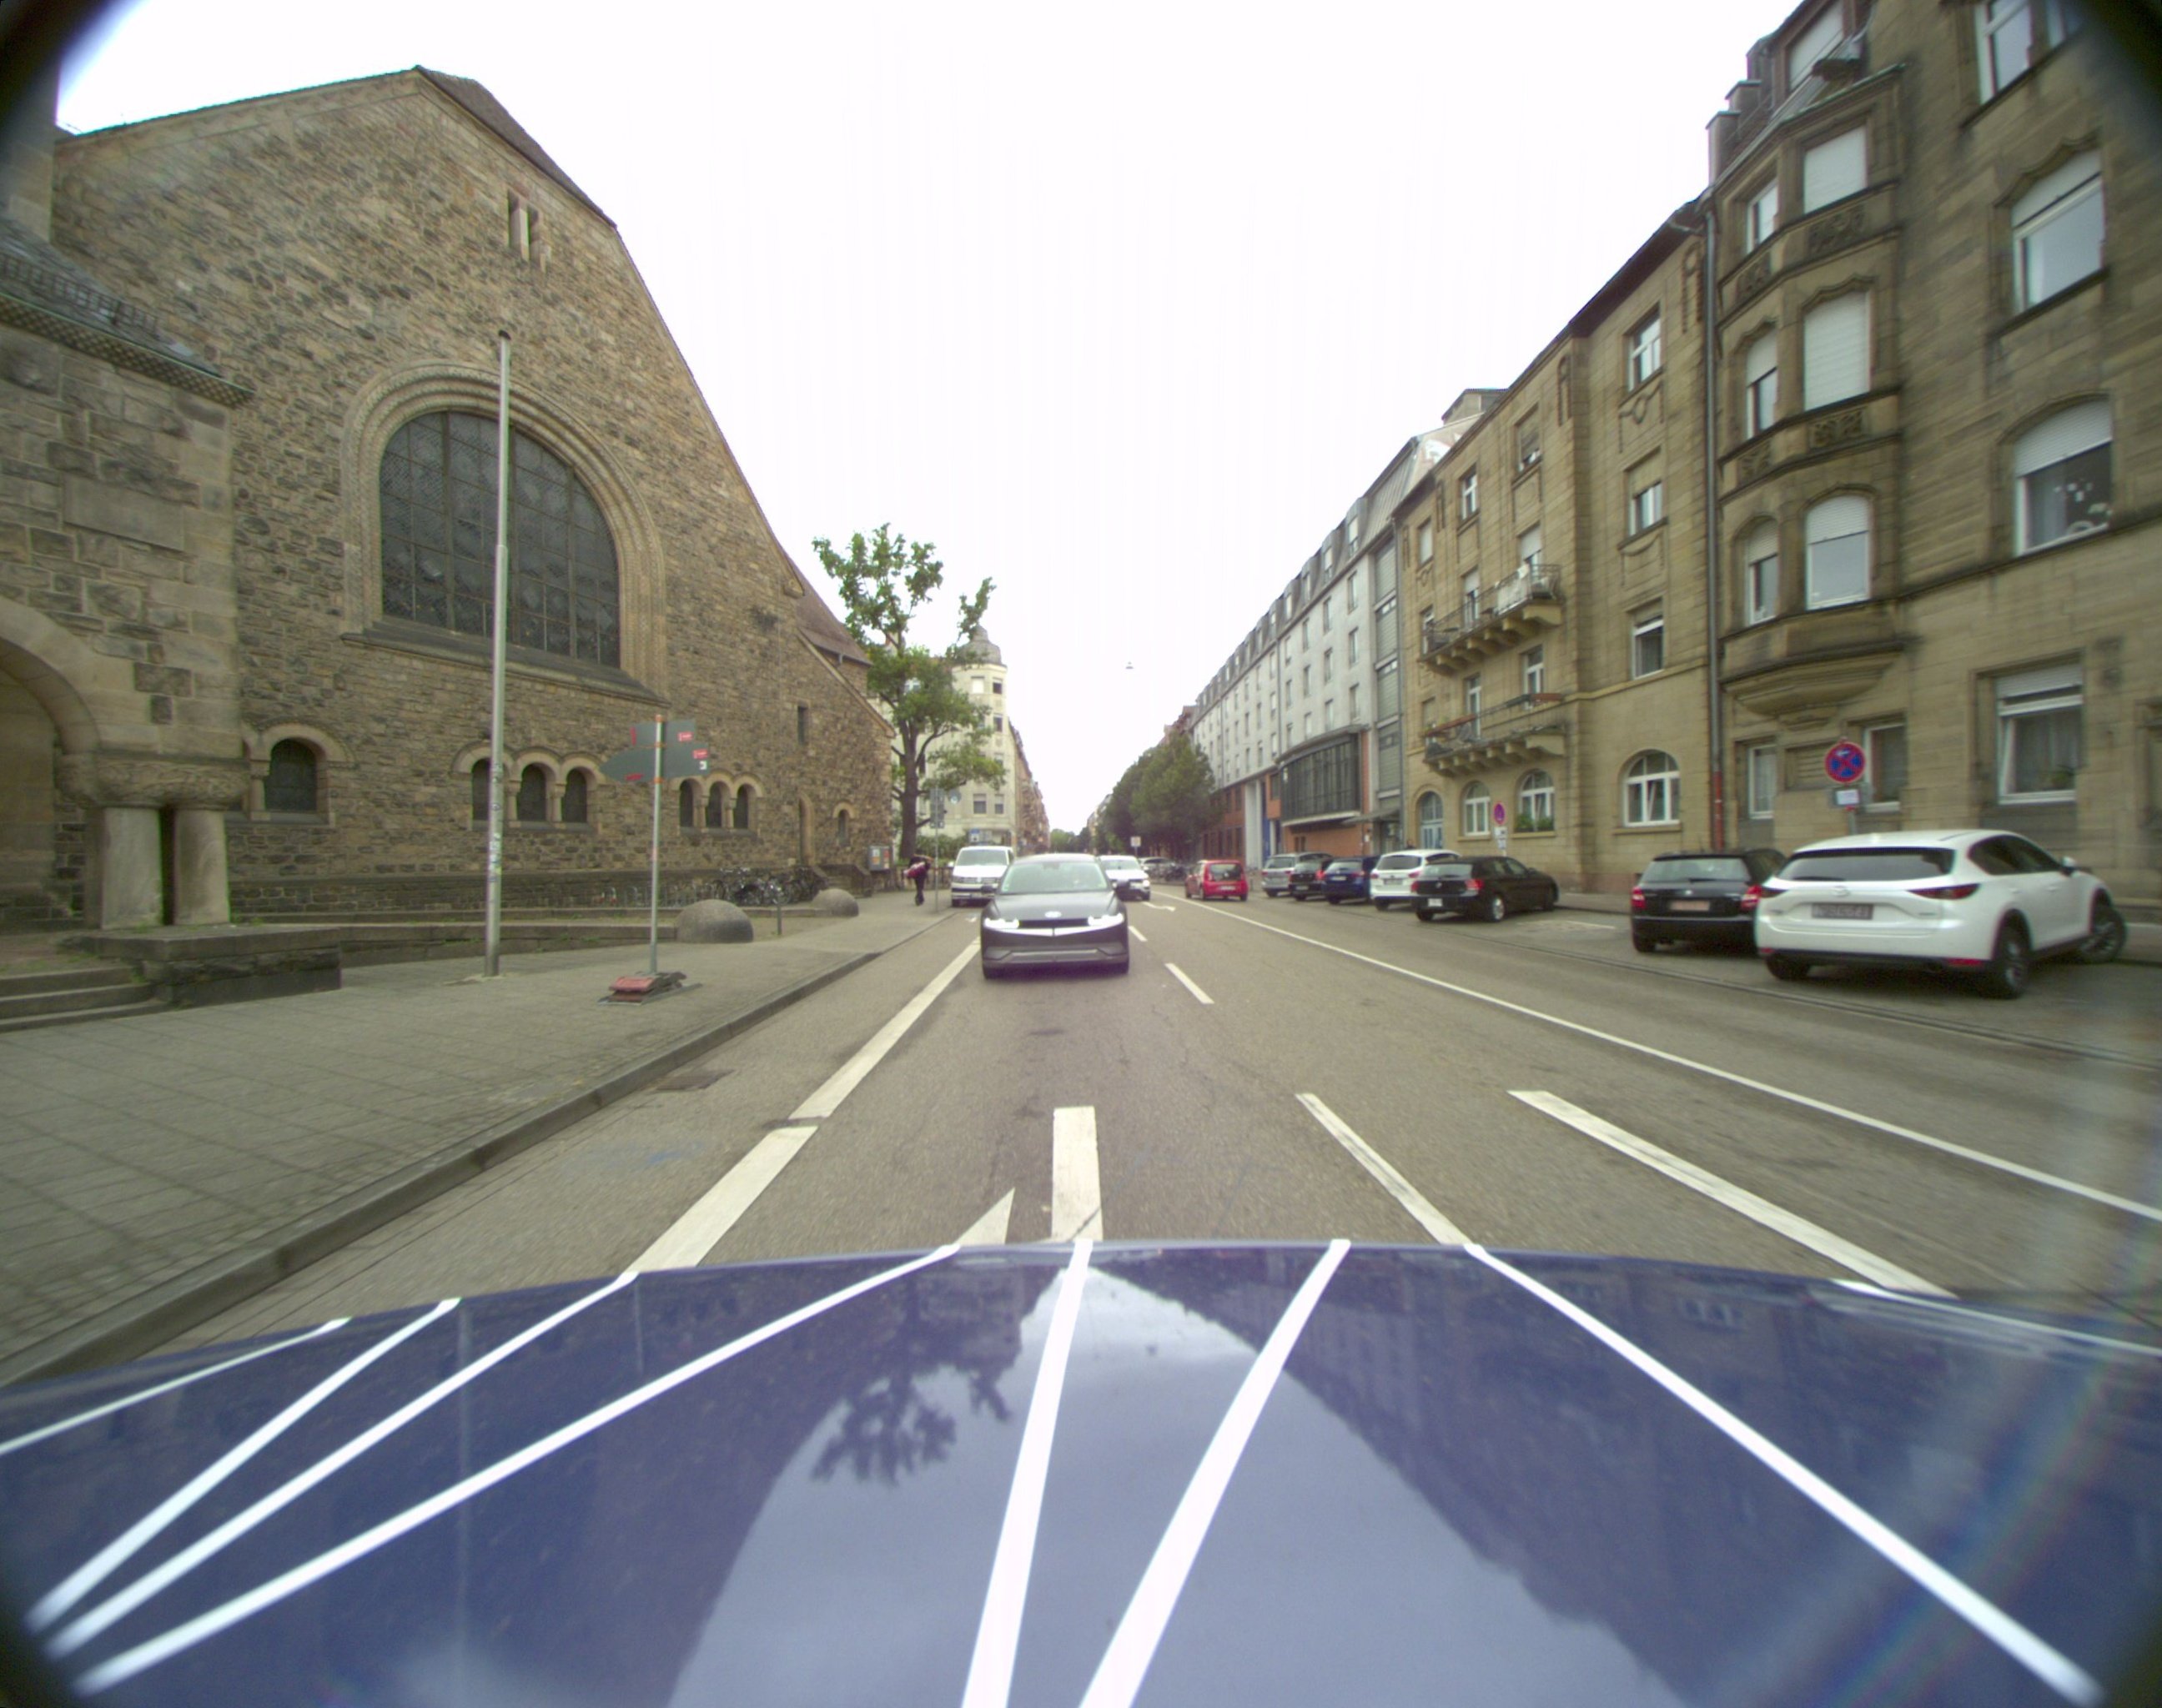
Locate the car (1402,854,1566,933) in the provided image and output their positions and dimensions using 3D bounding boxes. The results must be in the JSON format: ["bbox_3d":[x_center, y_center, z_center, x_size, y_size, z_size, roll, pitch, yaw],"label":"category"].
[{"bbox_3d":[9.185,0.810,17.217,4.006,1.409,1.657,-3,1,-36],"label":"car"}]

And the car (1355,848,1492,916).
[{"bbox_3d":[9.399,0.714,20.740,4.007,1.545,1.699,-3,0,-38],"label":"car"}]

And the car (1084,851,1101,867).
[{"bbox_3d":[1.306,0.608,89.491,1.698,1.793,4.128,0,0,-3],"label":"car"}]

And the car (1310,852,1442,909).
[{"bbox_3d":[9.104,0.781,23.395,3.754,1.437,1.820,-3,0,-31],"label":"car"}]

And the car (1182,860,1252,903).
[{"bbox_3d":[4.905,0.942,27.916,1.654,1.438,3.509,-1,0,-5],"label":"car"}]

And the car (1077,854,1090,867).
[{"bbox_3d":[0.398,1.004,115.926,1.998,1.897,4.000,-1,0,0],"label":"car"}]

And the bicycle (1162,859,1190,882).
[{"bbox_3d":[5.885,1.012,47.152,1.630,1.345,0.416,-3,1,-2],"label":"bicycle"}]

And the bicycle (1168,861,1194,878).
[{"bbox_3d":[6.639,1.007,50.493,1.630,1.067,0.416,-3,1,-2],"label":"bicycle"}]

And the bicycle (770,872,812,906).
[{"bbox_3d":[-9.097,1.098,23.831,1.340,1.053,0.311,-1,0,22],"label":"bicycle"}]

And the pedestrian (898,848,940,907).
[{"bbox_3d":[-5.160,0.748,24.297,0.814,1.799,1.021,-1,3,20],"label":"pedestrian"}]

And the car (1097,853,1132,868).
[{"bbox_3d":[4.306,0.825,96.934,4.005,1.897,1.996,-1,0,-24],"label":"car"}]

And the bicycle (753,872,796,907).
[{"bbox_3d":[-9.392,1.083,23.259,1.380,1.053,0.311,-1,0,22],"label":"bicycle"}]

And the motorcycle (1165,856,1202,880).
[{"bbox_3d":[6.237,0.863,46.122,2.124,1.345,0.599,-3,1,0],"label":"motorcycle"}]

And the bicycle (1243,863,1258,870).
[{"bbox_3d":[12.474,0.913,55.857,1.010,0.434,0.527,-1,2,1],"label":"bicycle"}]

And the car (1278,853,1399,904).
[{"bbox_3d":[8.871,0.801,26.065,4.006,1.430,1.729,-3,0,-33],"label":"car"}]

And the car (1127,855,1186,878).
[{"bbox_3d":[5.586,0.908,56.062,4.005,1.619,1.769,-1,0,-24],"label":"car"}]

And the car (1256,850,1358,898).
[{"bbox_3d":[8.690,0.744,29.110,4.007,1.545,1.729,-3,0,-40],"label":"car"}]

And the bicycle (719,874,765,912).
[{"bbox_3d":[-9.819,1.121,21.987,1.380,1.053,0.311,-1,0,22],"label":"bicycle"}]

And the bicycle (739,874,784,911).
[{"bbox_3d":[-9.440,1.135,22.461,1.380,1.053,0.311,-1,0,22],"label":"bicycle"}]

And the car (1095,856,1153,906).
[{"bbox_3d":[1.471,0.902,27.512,1.911,1.597,4.250,-1,0,1],"label":"car"}]

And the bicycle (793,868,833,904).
[{"bbox_3d":[-8.700,1.045,24.684,1.340,1.140,0.311,-1,0,22],"label":"bicycle"}]

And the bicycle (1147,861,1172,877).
[{"bbox_3d":[5.362,1.030,52.207,1.630,1.067,0.416,-3,1,-2],"label":"bicycle"}]

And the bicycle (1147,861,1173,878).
[{"bbox_3d":[5.369,1.036,51.693,1.630,1.067,0.416,-3,1,-2],"label":"bicycle"}]

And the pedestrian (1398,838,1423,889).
[{"bbox_3d":[11.969,0.345,27.635,0.621,1.812,0.642,-1,0,-1],"label":"pedestrian"}]

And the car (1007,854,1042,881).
[{"bbox_3d":[-3.342,0.776,45.514,1.820,1.556,4.000,-1,0,0],"label":"car"}]

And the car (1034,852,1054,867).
[{"bbox_3d":[-3.795,0.557,78.162,1.820,1.556,4.000,-1,0,0],"label":"car"}]

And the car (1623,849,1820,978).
[{"bbox_3d":[9.744,0.765,11.466,3.819,1.489,1.565,-3,1,-39],"label":"car"}]

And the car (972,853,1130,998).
[{"bbox_3d":[-0.364,0.841,10.890,1.820,1.675,4.000,-1,0,0],"label":"car"}]

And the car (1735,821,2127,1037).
[{"bbox_3d":[9.615,0.657,8.585,4.004,1.714,1.837,-5,2,-25],"label":"car"}]

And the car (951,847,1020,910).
[{"bbox_3d":[-3.130,0.766,25.876,1.810,1.908,5.163,-1,0,-2],"label":"car"}]

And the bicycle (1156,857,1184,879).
[{"bbox_3d":[5.639,0.885,48.104,1.630,1.282,0.416,-3,1,-2],"label":"bicycle"}]
